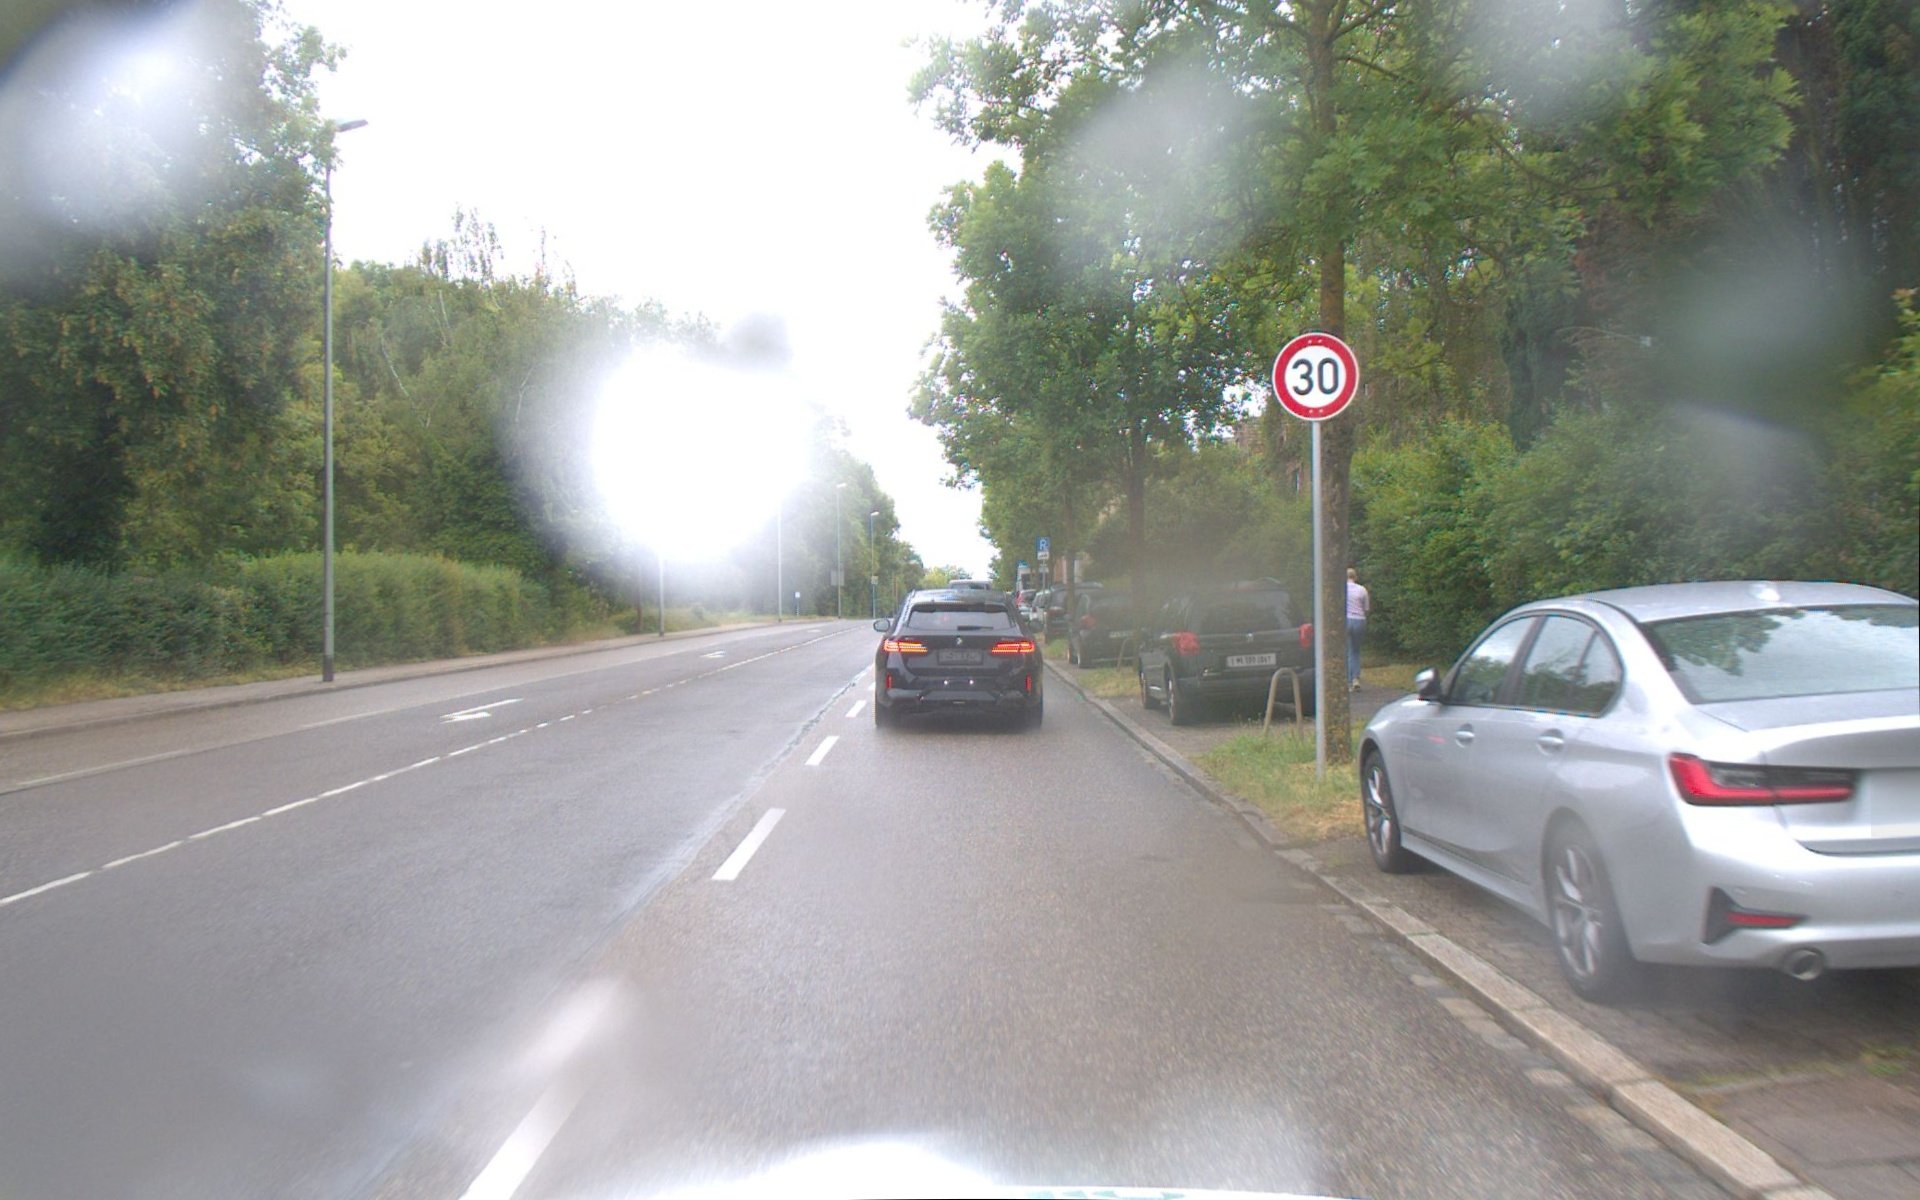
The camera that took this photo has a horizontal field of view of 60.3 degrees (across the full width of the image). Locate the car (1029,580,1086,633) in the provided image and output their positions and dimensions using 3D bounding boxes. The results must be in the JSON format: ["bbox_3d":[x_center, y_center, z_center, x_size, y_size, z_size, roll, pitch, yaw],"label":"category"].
[{"bbox_3d":[3.364,0.190,56.658,1.786,1.630,4.476,-3,1,4],"label":"car"}]

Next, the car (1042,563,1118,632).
[{"bbox_3d":[3.285,-0.101,46.017,1.787,1.707,4.585,-3,1,1],"label":"car"}]

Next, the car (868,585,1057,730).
[{"bbox_3d":[0.012,0.603,19.290,1.953,1.478,3.999,1,0,-1],"label":"car"}]

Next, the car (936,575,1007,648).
[{"bbox_3d":[0.387,0.338,48.953,1.952,2.049,4.001,-1,0,2],"label":"car"}]

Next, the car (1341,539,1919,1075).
[{"bbox_3d":[3.106,0.609,7.188,1.762,1.548,4.590,-3,-1,0],"label":"car"}]

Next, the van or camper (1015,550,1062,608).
[{"bbox_3d":[3.921,-1.066,83.669,2.152,2.697,7.304,-3,1,2],"label":"van or camper"}]

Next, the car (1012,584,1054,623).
[{"bbox_3d":[3.181,0.131,71.787,1.634,1.555,3.834,-4,0,4],"label":"car"}]

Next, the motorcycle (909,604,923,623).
[{"bbox_3d":[-2.664,0.807,100.591,0.804,1.137,2.189,0,1,-1],"label":"motorcycle"}]

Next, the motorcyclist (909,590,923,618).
[{"bbox_3d":[-2.660,0.230,100.629,0.794,1.710,0.651,0,0,1],"label":"motorcyclist"}]

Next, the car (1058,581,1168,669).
[{"bbox_3d":[2.979,0.453,32.907,1.687,1.538,3.785,-3,1,-1],"label":"car"}]

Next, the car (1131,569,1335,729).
[{"bbox_3d":[3.108,0.486,19.576,1.608,1.623,4.013,-3,1,-1],"label":"car"}]

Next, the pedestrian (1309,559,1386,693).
[{"bbox_3d":[5.129,0.329,21.922,0.702,1.709,0.894,-3,0,-4],"label":"pedestrian"}]
